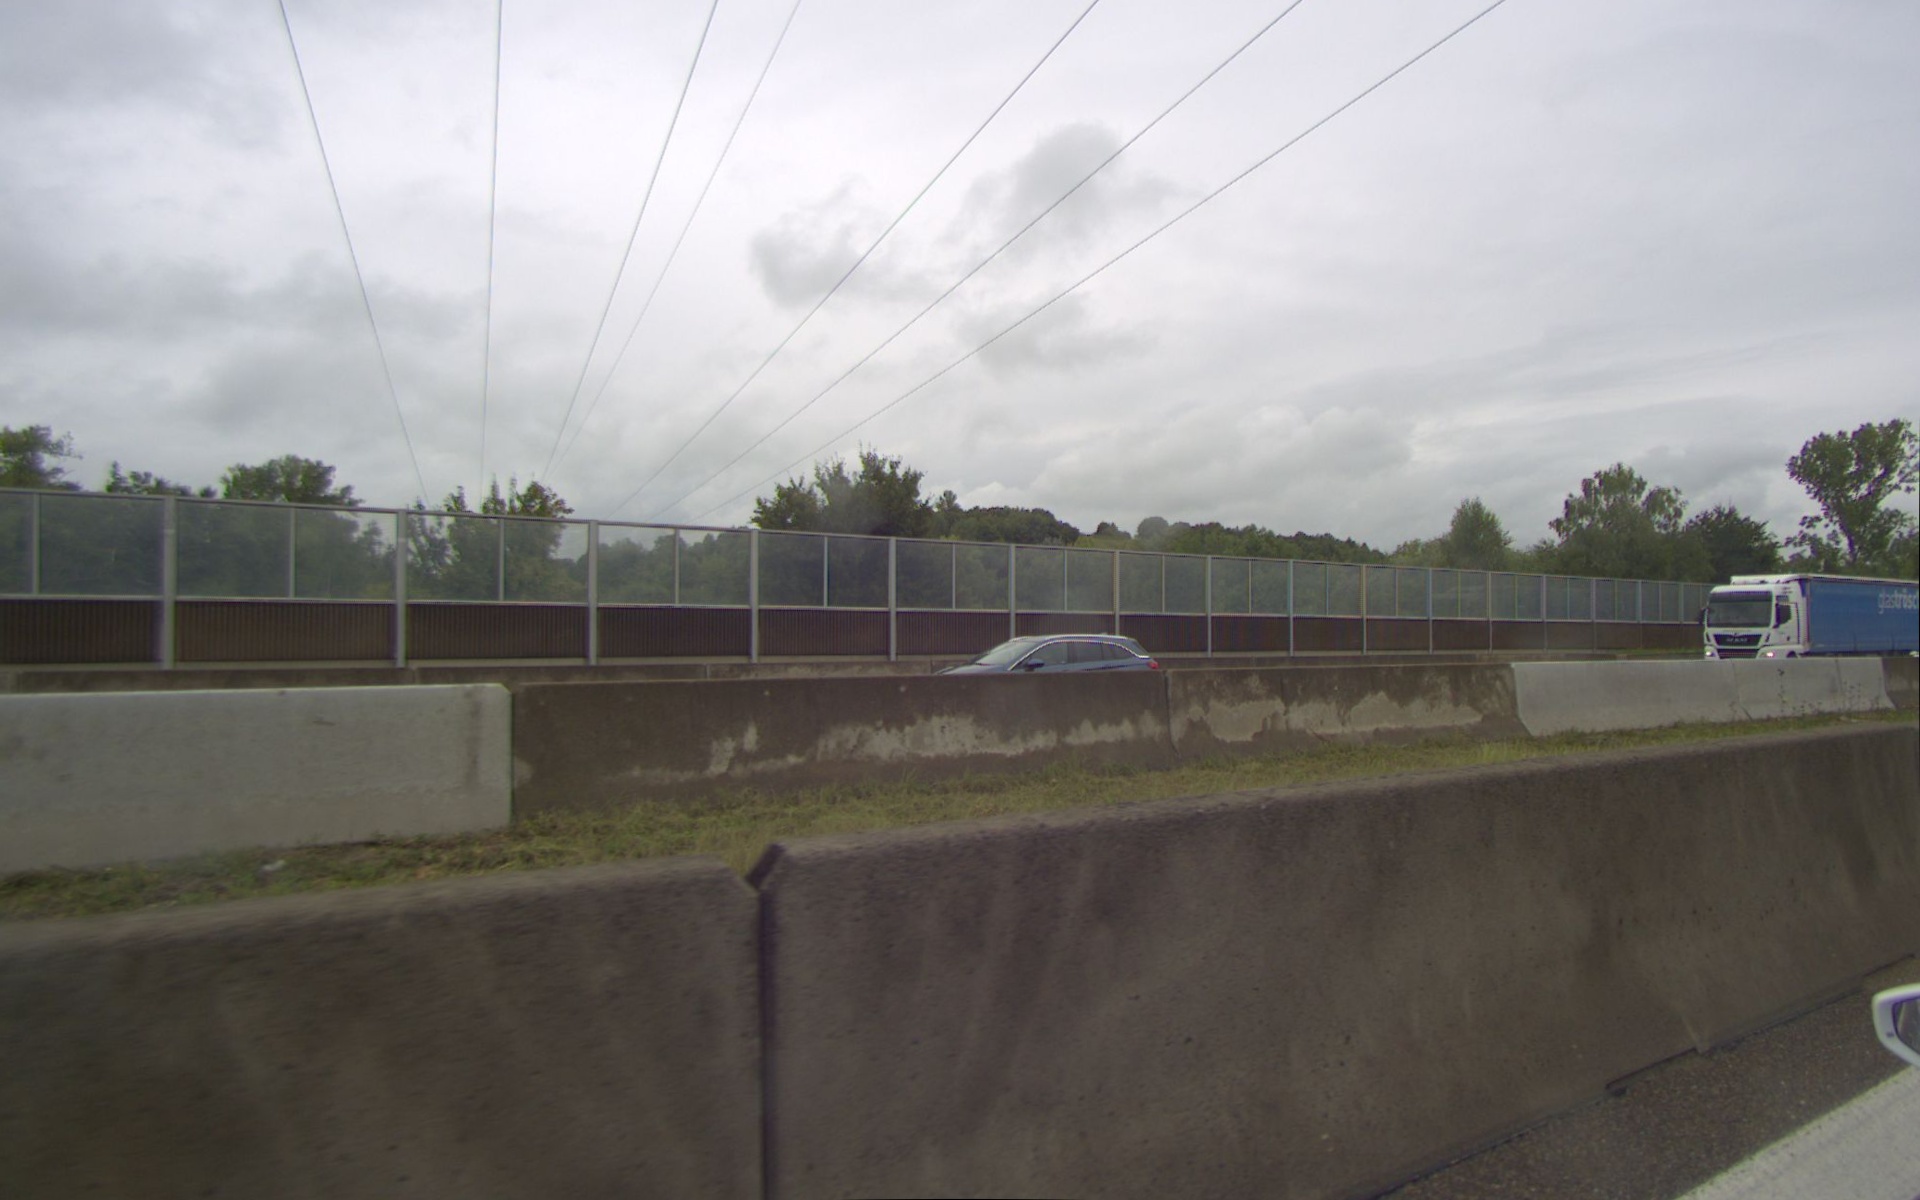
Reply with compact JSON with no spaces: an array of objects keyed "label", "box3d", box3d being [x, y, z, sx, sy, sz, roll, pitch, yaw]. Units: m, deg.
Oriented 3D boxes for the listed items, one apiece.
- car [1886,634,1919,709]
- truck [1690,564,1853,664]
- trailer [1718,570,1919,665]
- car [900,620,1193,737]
[{"label":"car","box3d":[28.162,2.029,28.267,3.953,2.040,1.984,1,0,-30]},{"label":"truck","box3d":[33.108,0.583,40.933,6.802,3.741,2.978,1,0,-31]},{"label":"trailer","box3d":[38.335,0.814,44.159,13.896,3.741,2.978,2,0,-31]},{"label":"car","box3d":[1.540,1.368,17.348,4.590,1.646,2.206,6,-3,-32]}]
